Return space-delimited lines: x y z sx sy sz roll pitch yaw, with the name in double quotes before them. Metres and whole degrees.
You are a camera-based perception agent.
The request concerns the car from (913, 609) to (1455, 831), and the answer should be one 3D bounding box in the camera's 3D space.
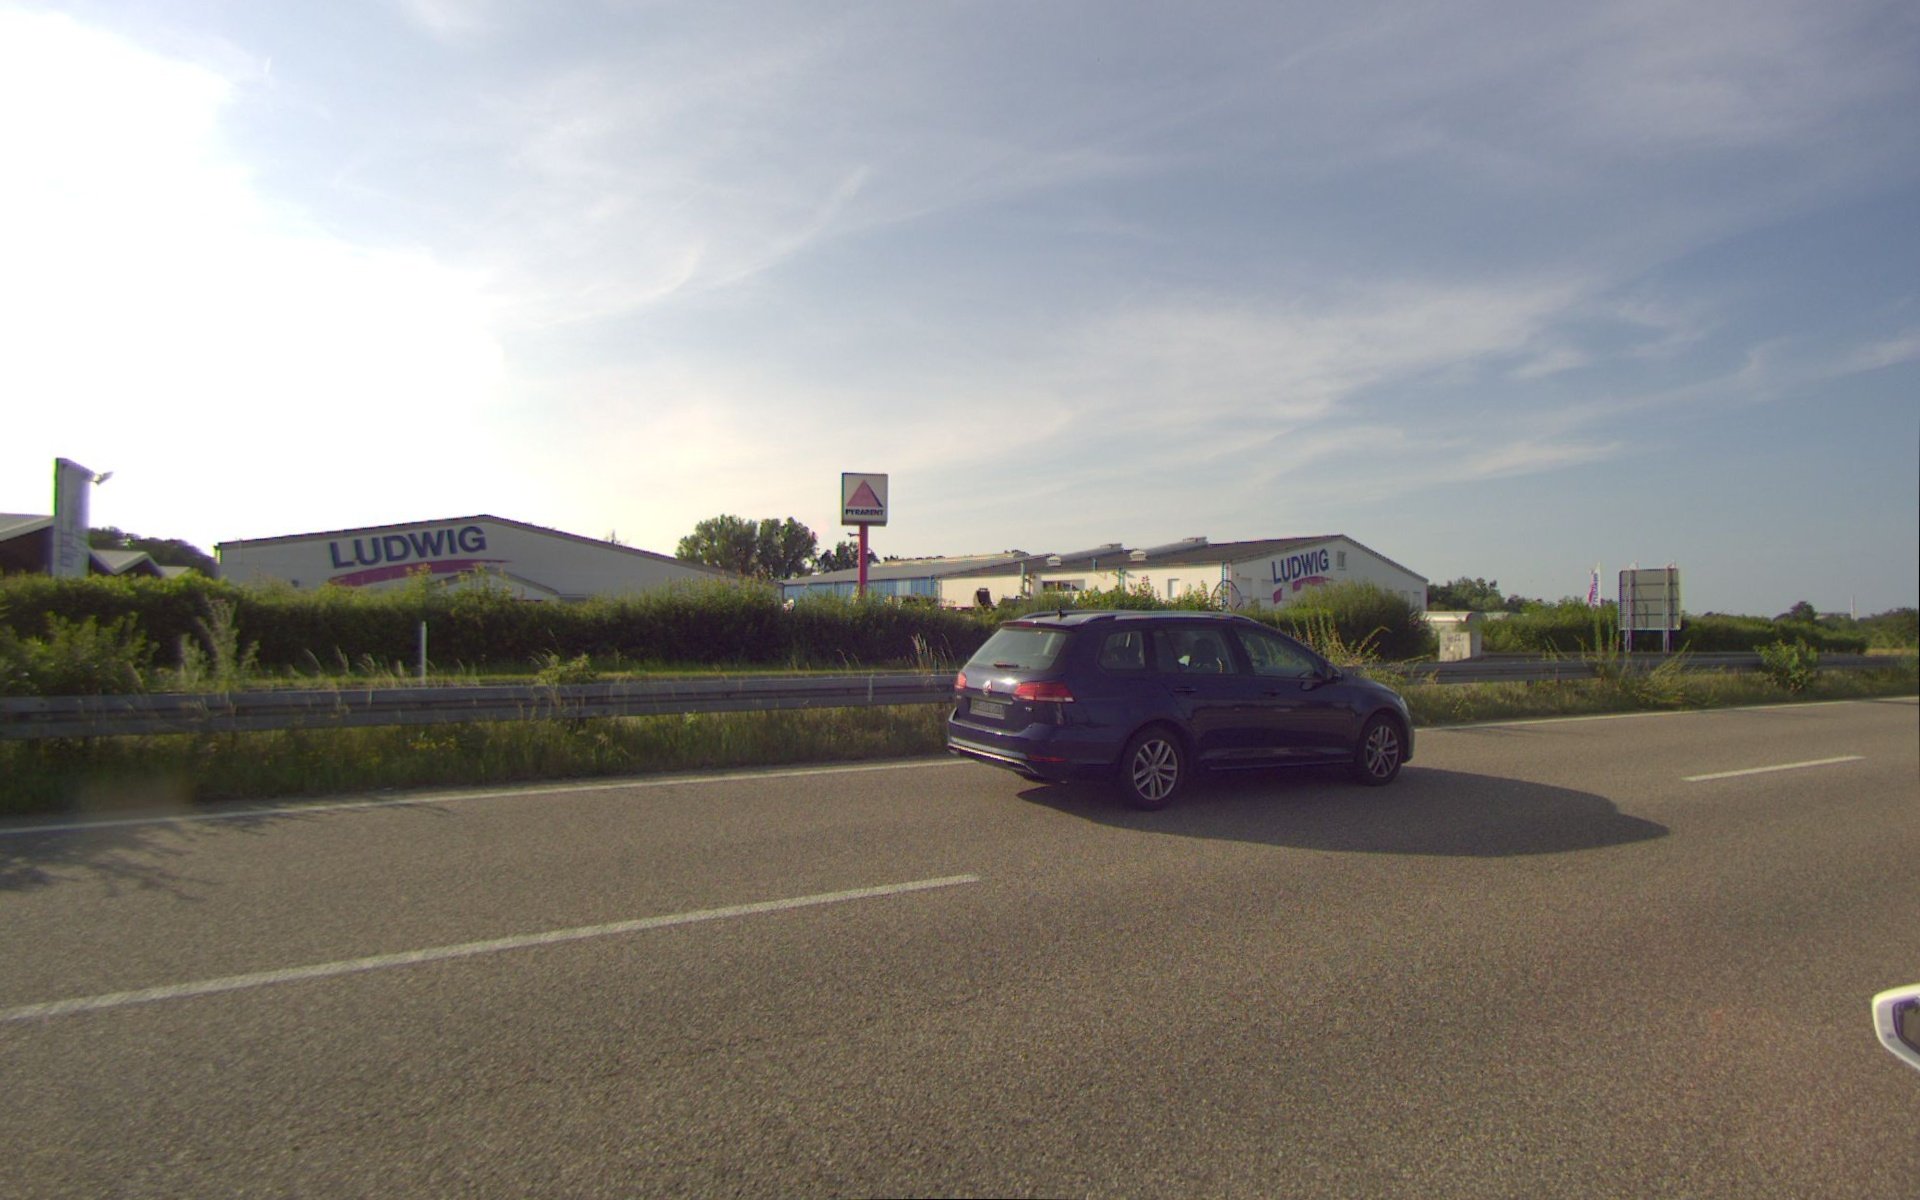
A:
"car" 2.062 0.866 8.647 4.720 1.490 1.638 1 -1 -30
